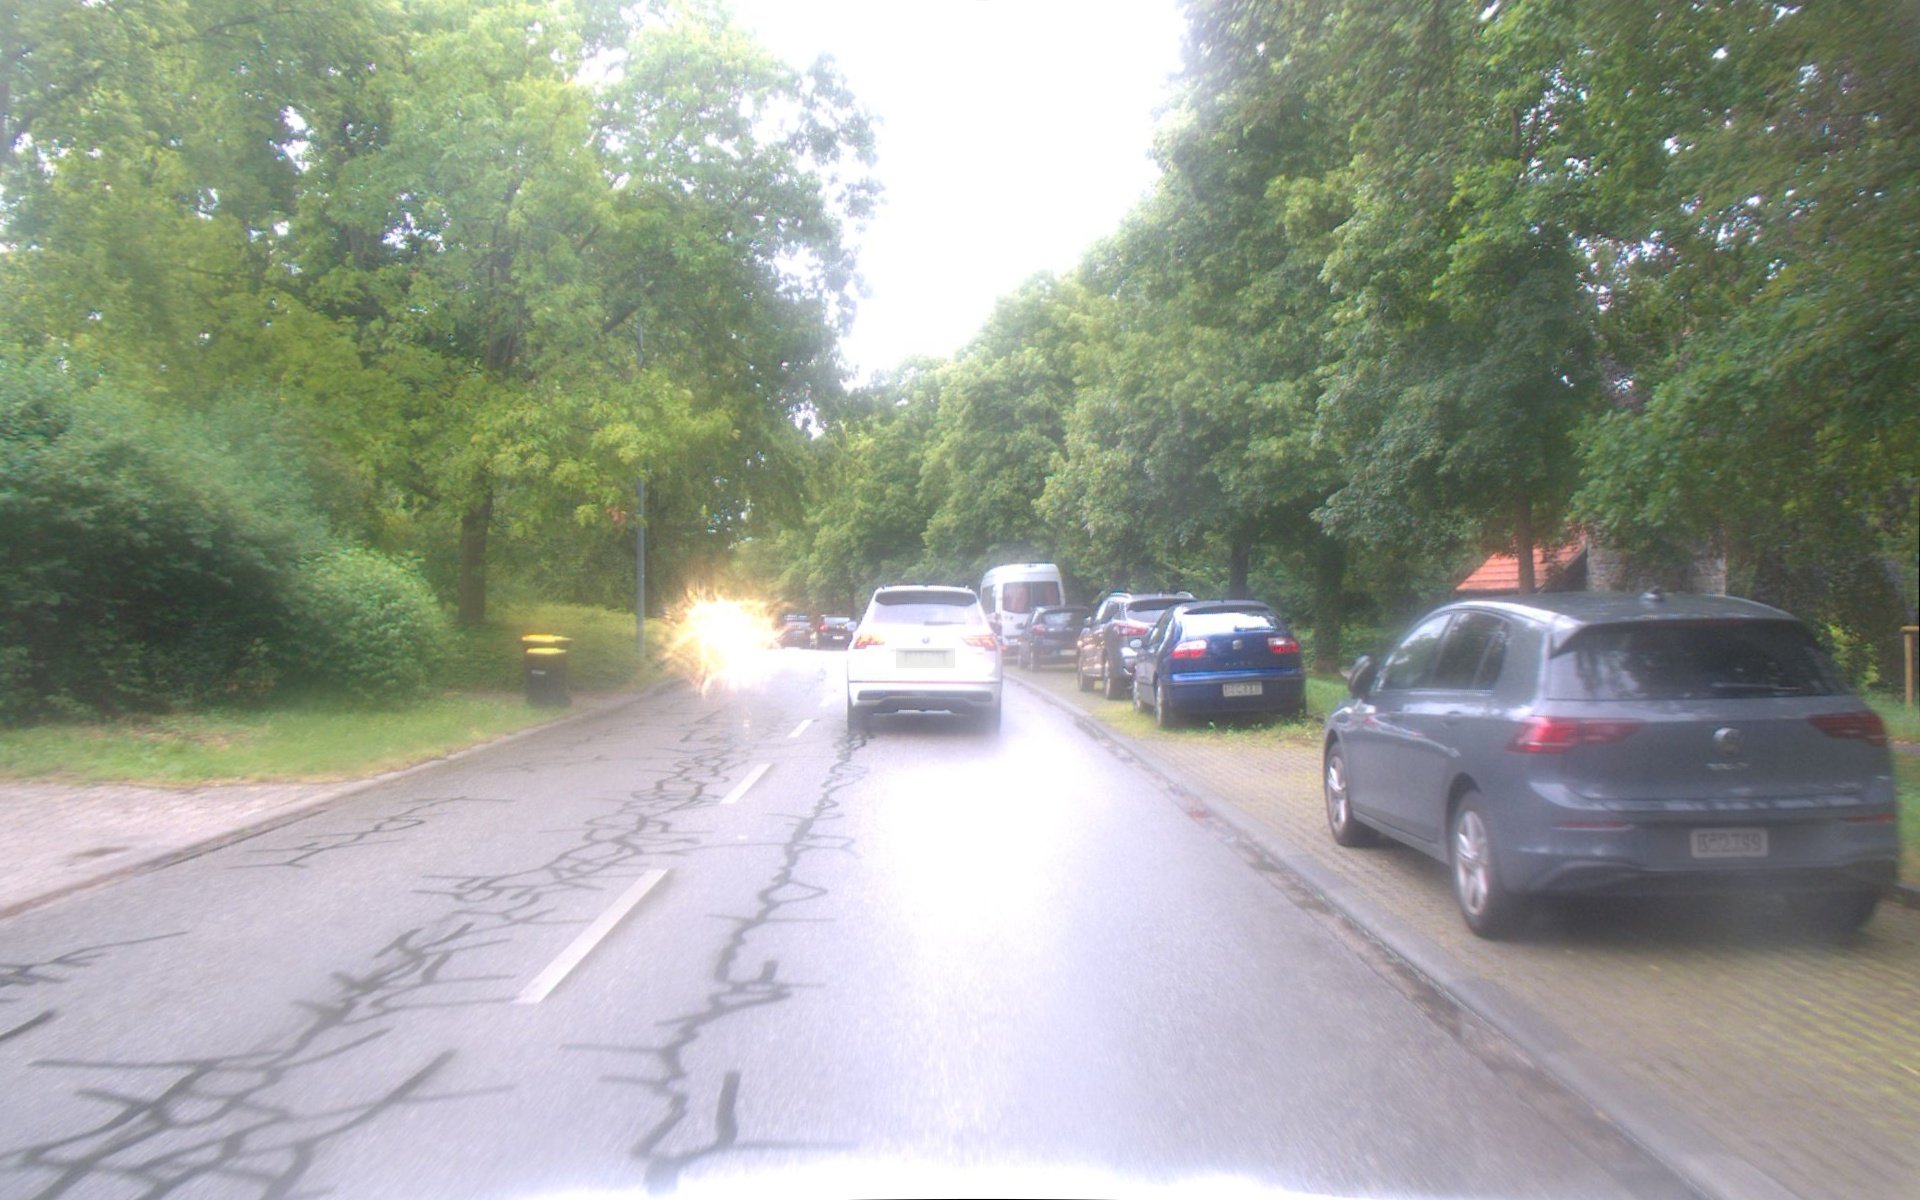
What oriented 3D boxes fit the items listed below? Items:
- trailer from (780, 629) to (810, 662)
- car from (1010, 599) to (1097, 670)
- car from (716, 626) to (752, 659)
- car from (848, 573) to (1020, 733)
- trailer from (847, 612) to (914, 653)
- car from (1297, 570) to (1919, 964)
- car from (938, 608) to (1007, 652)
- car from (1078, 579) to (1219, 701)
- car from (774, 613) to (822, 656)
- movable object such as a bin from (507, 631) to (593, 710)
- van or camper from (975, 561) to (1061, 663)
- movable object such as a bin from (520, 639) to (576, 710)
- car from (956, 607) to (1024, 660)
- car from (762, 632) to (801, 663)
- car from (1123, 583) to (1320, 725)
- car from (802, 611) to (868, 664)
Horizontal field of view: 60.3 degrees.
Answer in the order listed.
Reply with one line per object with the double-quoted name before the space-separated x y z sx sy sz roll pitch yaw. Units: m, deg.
"trailer" -11.342 3.142 113.469 1.504 2.112 3.985 -2 -3 -13
"car" 2.136 0.758 38.649 1.827 1.537 3.724 -1 0 0
"car" -11.576 2.157 84.787 1.634 1.503 3.726 -3 0 -6
"car" -0.401 0.602 20.318 1.867 1.715 4.197 -1 0 -3
"trailer" -4.021 1.652 82.537 2.407 1.845 5.872 -1 -2 -12
"car" 3.047 0.652 8.581 1.666 1.487 4.216 -2 0 -1
"car" 0.424 1.075 60.322 1.955 1.524 4.559 -1 0 -7
"car" 2.930 0.584 26.498 1.745 1.749 4.261 -1 0 0
"car" -8.399 1.752 85.626 1.959 2.049 3.987 0 1 -13
"movable object such as a bin" -6.149 1.042 24.851 1.016 1.124 0.966 1 0 0
"van or camper" 1.546 0.301 47.318 1.975 2.628 8.433 1 0 -1
"movable object such as a bin" -6.010 1.076 24.152 0.635 0.996 0.578 1 0 0
"car" 0.926 1.055 53.294 1.769 1.566 4.263 -2 0 -4
"car" -12.778 3.417 118.088 1.960 1.943 5.486 0 -4 -15
"car" 3.060 0.586 20.105 1.707 1.478 4.000 -3 0 0
"car" -5.332 1.556 70.124 1.962 2.049 3.981 0 1 -17
